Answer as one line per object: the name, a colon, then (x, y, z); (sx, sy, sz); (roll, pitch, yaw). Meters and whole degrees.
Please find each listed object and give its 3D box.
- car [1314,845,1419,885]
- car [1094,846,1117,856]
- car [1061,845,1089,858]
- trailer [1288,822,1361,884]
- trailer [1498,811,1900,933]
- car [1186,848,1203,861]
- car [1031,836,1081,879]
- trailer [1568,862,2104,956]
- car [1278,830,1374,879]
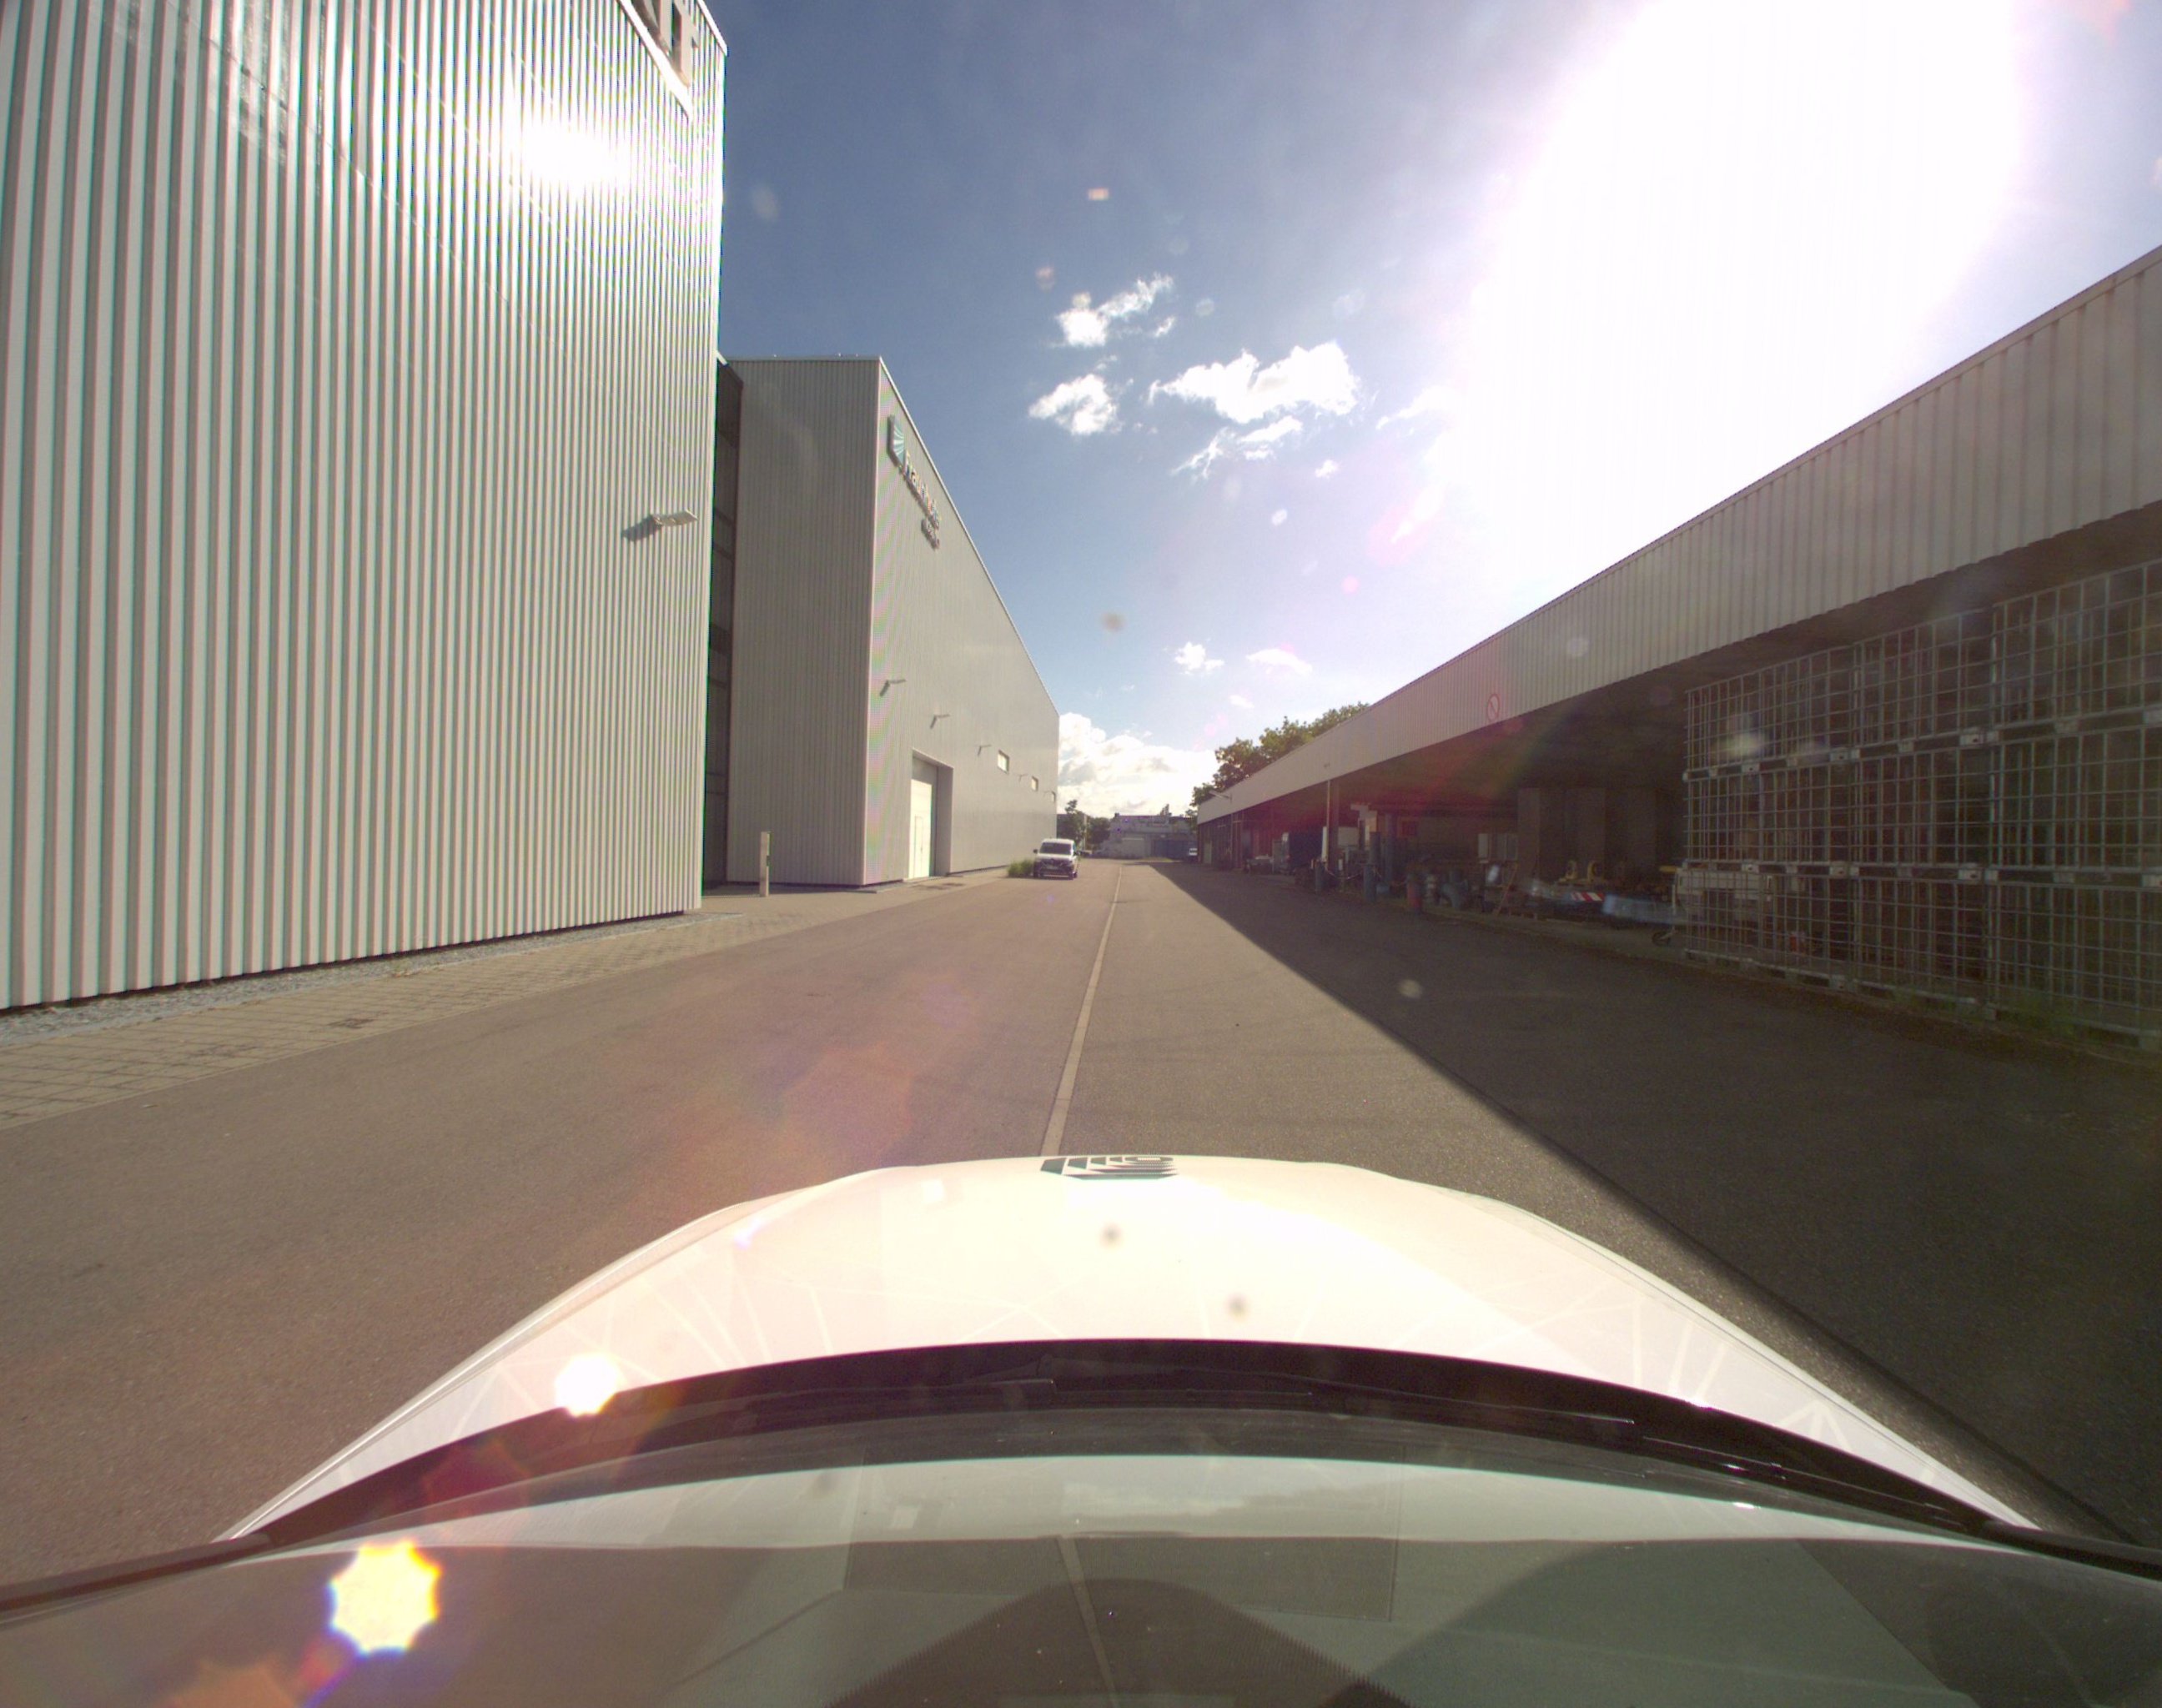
car: (12.419, 0.484, 35.580); (4.020, 1.524, 1.686); (3, -2, 3)
car: (4.440, -0.588, 147.413); (3.972, 1.598, 1.849); (3, -2, 1)
car: (-0.889, -0.386, 119.715); (3.972, 1.598, 1.742); (3, -2, 1)
trailer: (9.957, -0.038, 33.416); (2.512, 2.399, 1.728); (1, -1, 4)
trailer: (11.143, 0.280, 15.075); (5.740, 2.032, 2.080); (1, 0, 4)
car: (14.851, -0.008, 106.592); (1.953, 1.564, 4.065); (3, 1, 5)
car: (-1.084, 0.128, 37.363); (1.811, 1.787, 4.409); (3, 1, 3)
trailer: (10.658, 0.746, 11.883); (5.827, 1.133, 2.142); (1, 1, 1)
car: (12.600, 0.044, 42.103); (4.413, 2.310, 1.917); (3, -2, 3)
